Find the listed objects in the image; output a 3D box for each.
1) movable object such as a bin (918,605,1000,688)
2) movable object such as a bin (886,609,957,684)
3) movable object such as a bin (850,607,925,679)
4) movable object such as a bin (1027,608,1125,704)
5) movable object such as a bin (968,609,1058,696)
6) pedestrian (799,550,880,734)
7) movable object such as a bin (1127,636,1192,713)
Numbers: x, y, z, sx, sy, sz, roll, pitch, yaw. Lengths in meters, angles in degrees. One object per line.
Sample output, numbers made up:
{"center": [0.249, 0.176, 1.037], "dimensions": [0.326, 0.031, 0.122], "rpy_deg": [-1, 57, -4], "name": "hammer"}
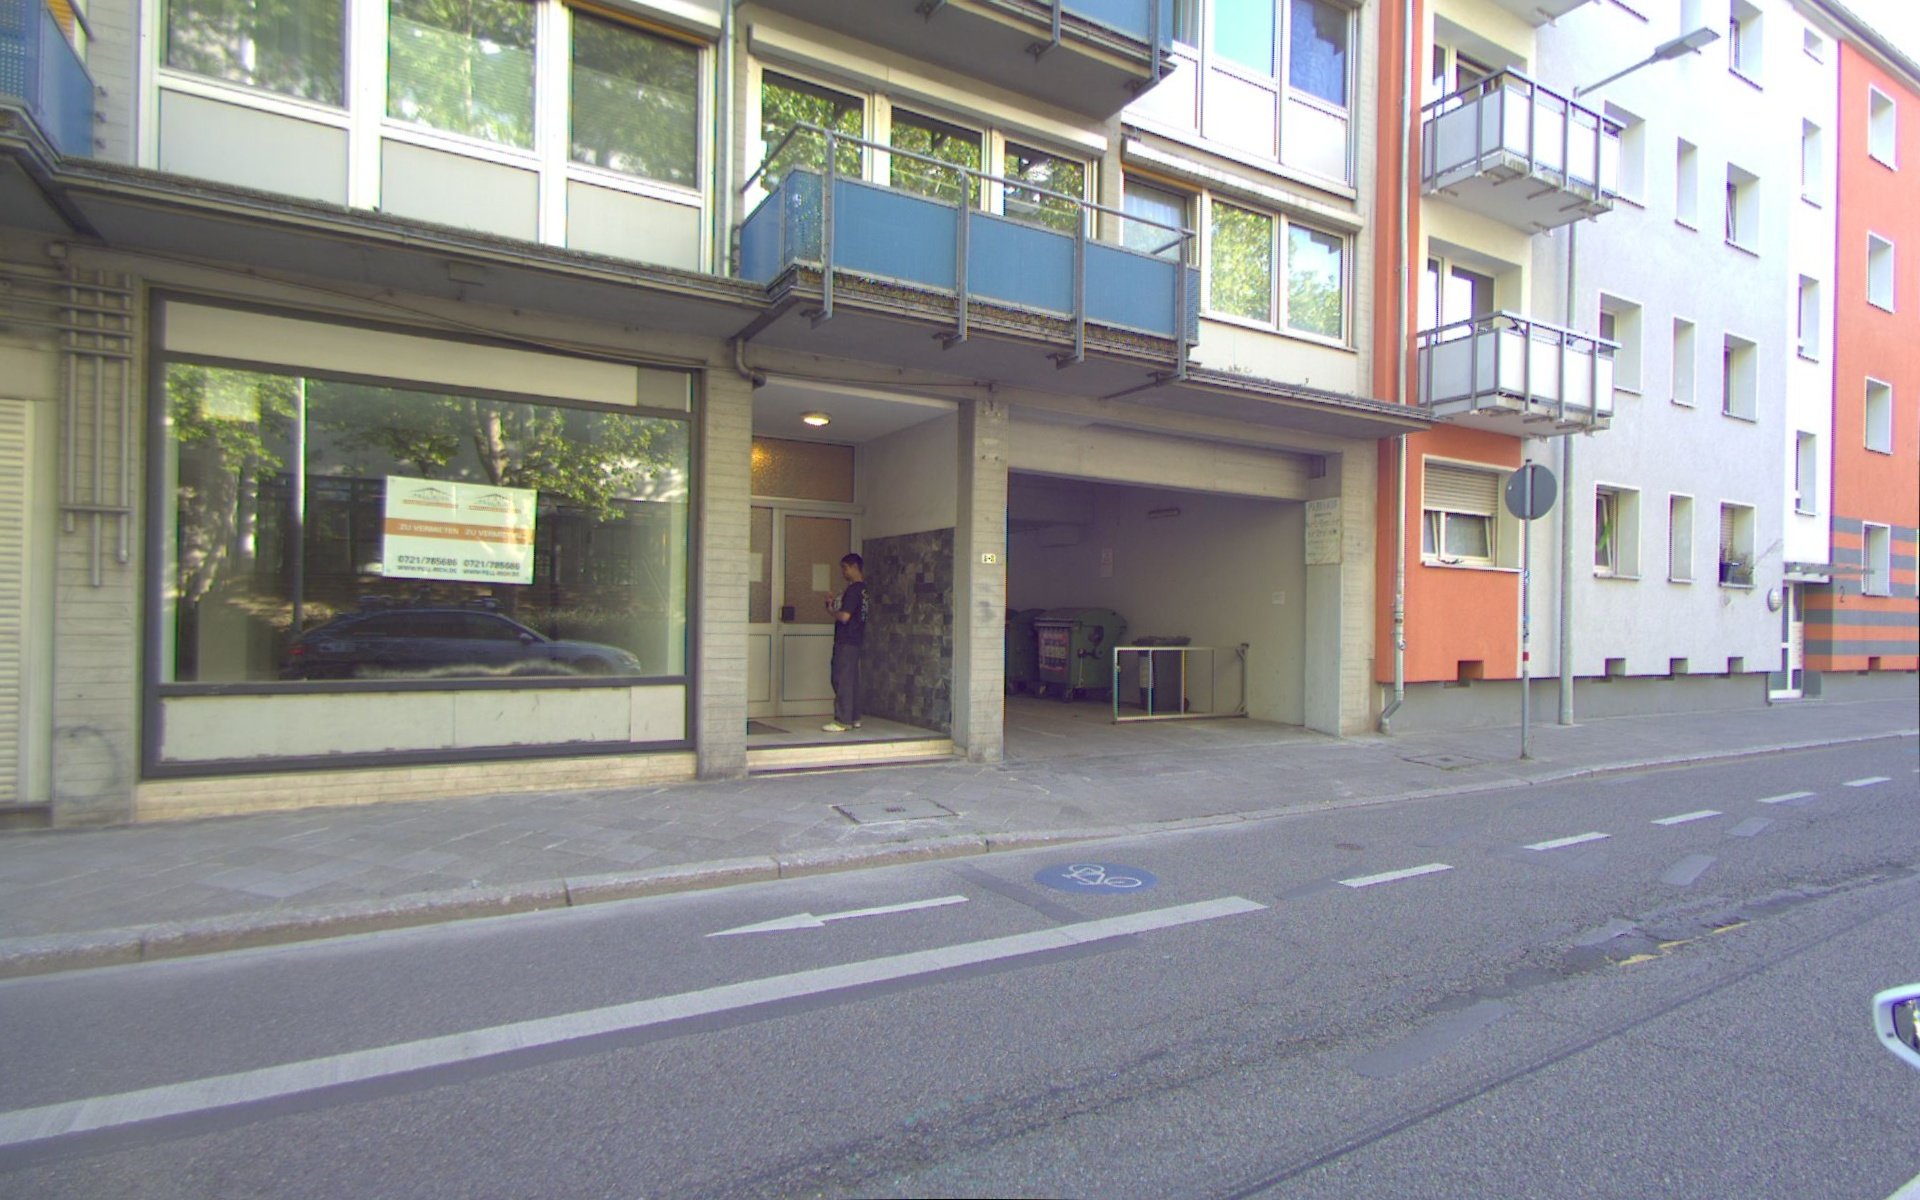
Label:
{"center": [-0.032, 0.834, 18.663], "dimensions": [1.011, 1.462, 1.318], "rpy_deg": [1, 0, -29], "name": "movable object such as a bin"}
{"center": [-0.761, 0.891, 19.664], "dimensions": [1.012, 1.409, 1.046], "rpy_deg": [1, 0, -31], "name": "movable object such as a bin"}
{"center": [-1.491, 0.862, 20.658], "dimensions": [1.014, 1.409, 1.264], "rpy_deg": [1, 0, -37], "name": "movable object such as a bin"}
{"center": [1.812, 0.852, 15.820], "dimensions": [1.009, 1.438, 1.321], "rpy_deg": [1, 0, -23], "name": "movable object such as a bin"}
{"center": [0.892, 0.867, 17.153], "dimensions": [1.011, 1.409, 1.319], "rpy_deg": [1, 0, -27], "name": "movable object such as a bin"}
{"center": [-1.205, 0.406, 10.071], "dimensions": [0.518, 1.764, 0.630], "rpy_deg": [1, 0, 27], "name": "pedestrian"}
{"center": [2.871, 1.059, 14.484], "dimensions": [0.704, 1.054, 0.583], "rpy_deg": [1, 0, -30], "name": "movable object such as a bin"}
